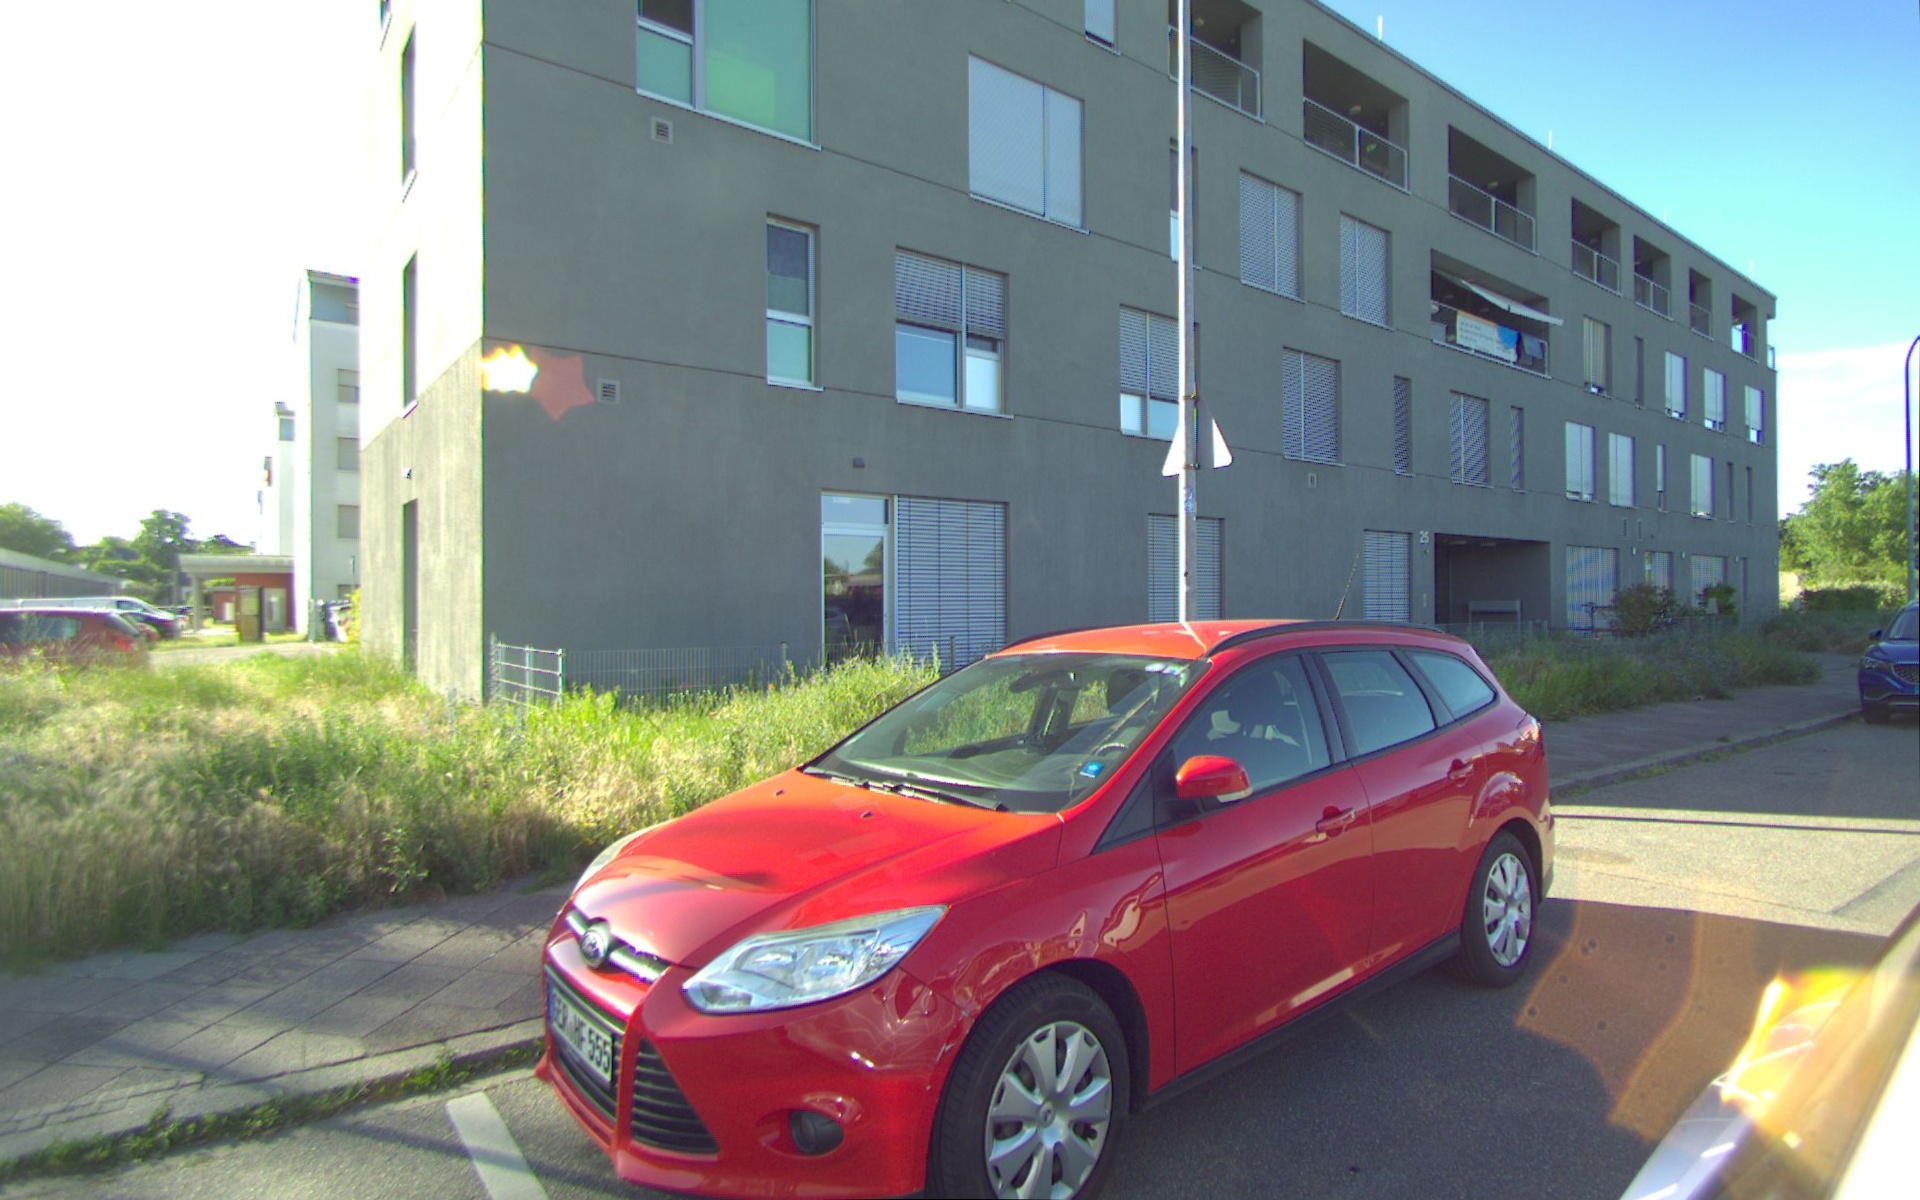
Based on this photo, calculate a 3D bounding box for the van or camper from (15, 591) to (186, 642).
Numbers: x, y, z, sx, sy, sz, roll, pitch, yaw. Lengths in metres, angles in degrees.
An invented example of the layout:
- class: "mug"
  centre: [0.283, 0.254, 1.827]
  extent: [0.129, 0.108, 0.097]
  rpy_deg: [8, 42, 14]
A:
- class: "van or camper"
  centre: [-35.268, 0.619, 41.770]
  extent: [5.195, 1.983, 2.000]
  rpy_deg: [0, 0, -35]

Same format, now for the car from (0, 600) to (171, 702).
- class: "car"
  centre: [-15.227, 0.793, 16.291]
  extent: [3.926, 1.539, 1.698]
  rpy_deg: [0, 1, -37]

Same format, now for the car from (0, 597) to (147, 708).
- class: "car"
  centre: [-13.942, 0.717, 14.157]
  extent: [3.926, 1.488, 1.698]
  rpy_deg: [0, 1, -37]

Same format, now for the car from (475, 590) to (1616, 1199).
- class: "car"
  centre: [0.684, 0.740, 3.947]
  extent: [4.371, 1.519, 1.823]
  rpy_deg: [0, -1, -38]

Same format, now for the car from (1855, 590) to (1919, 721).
- class: "car"
  centre: [13.843, 0.654, 13.662]
  extent: [4.543, 1.620, 1.820]
  rpy_deg: [0, -2, -39]

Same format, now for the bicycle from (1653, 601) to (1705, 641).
- class: "bicycle"
  centre: [19.995, 0.581, 28.128]
  extent: [1.806, 1.075, 0.554]
  rpy_deg: [0, -1, -34]

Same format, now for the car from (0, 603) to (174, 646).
- class: "car"
  centre: [-30.096, 0.816, 35.023]
  extent: [4.517, 1.366, 1.999]
  rpy_deg: [0, 0, -37]

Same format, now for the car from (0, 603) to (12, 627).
- class: "car"
  centre: [-60.574, 0.949, 62.890]
  extent: [1.951, 1.455, 3.999]
  rpy_deg: [0, 0, -36]

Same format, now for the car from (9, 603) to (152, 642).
- class: "car"
  centre: [-33.516, 0.821, 38.714]
  extent: [4.012, 1.366, 1.762]
  rpy_deg: [0, 0, -37]
